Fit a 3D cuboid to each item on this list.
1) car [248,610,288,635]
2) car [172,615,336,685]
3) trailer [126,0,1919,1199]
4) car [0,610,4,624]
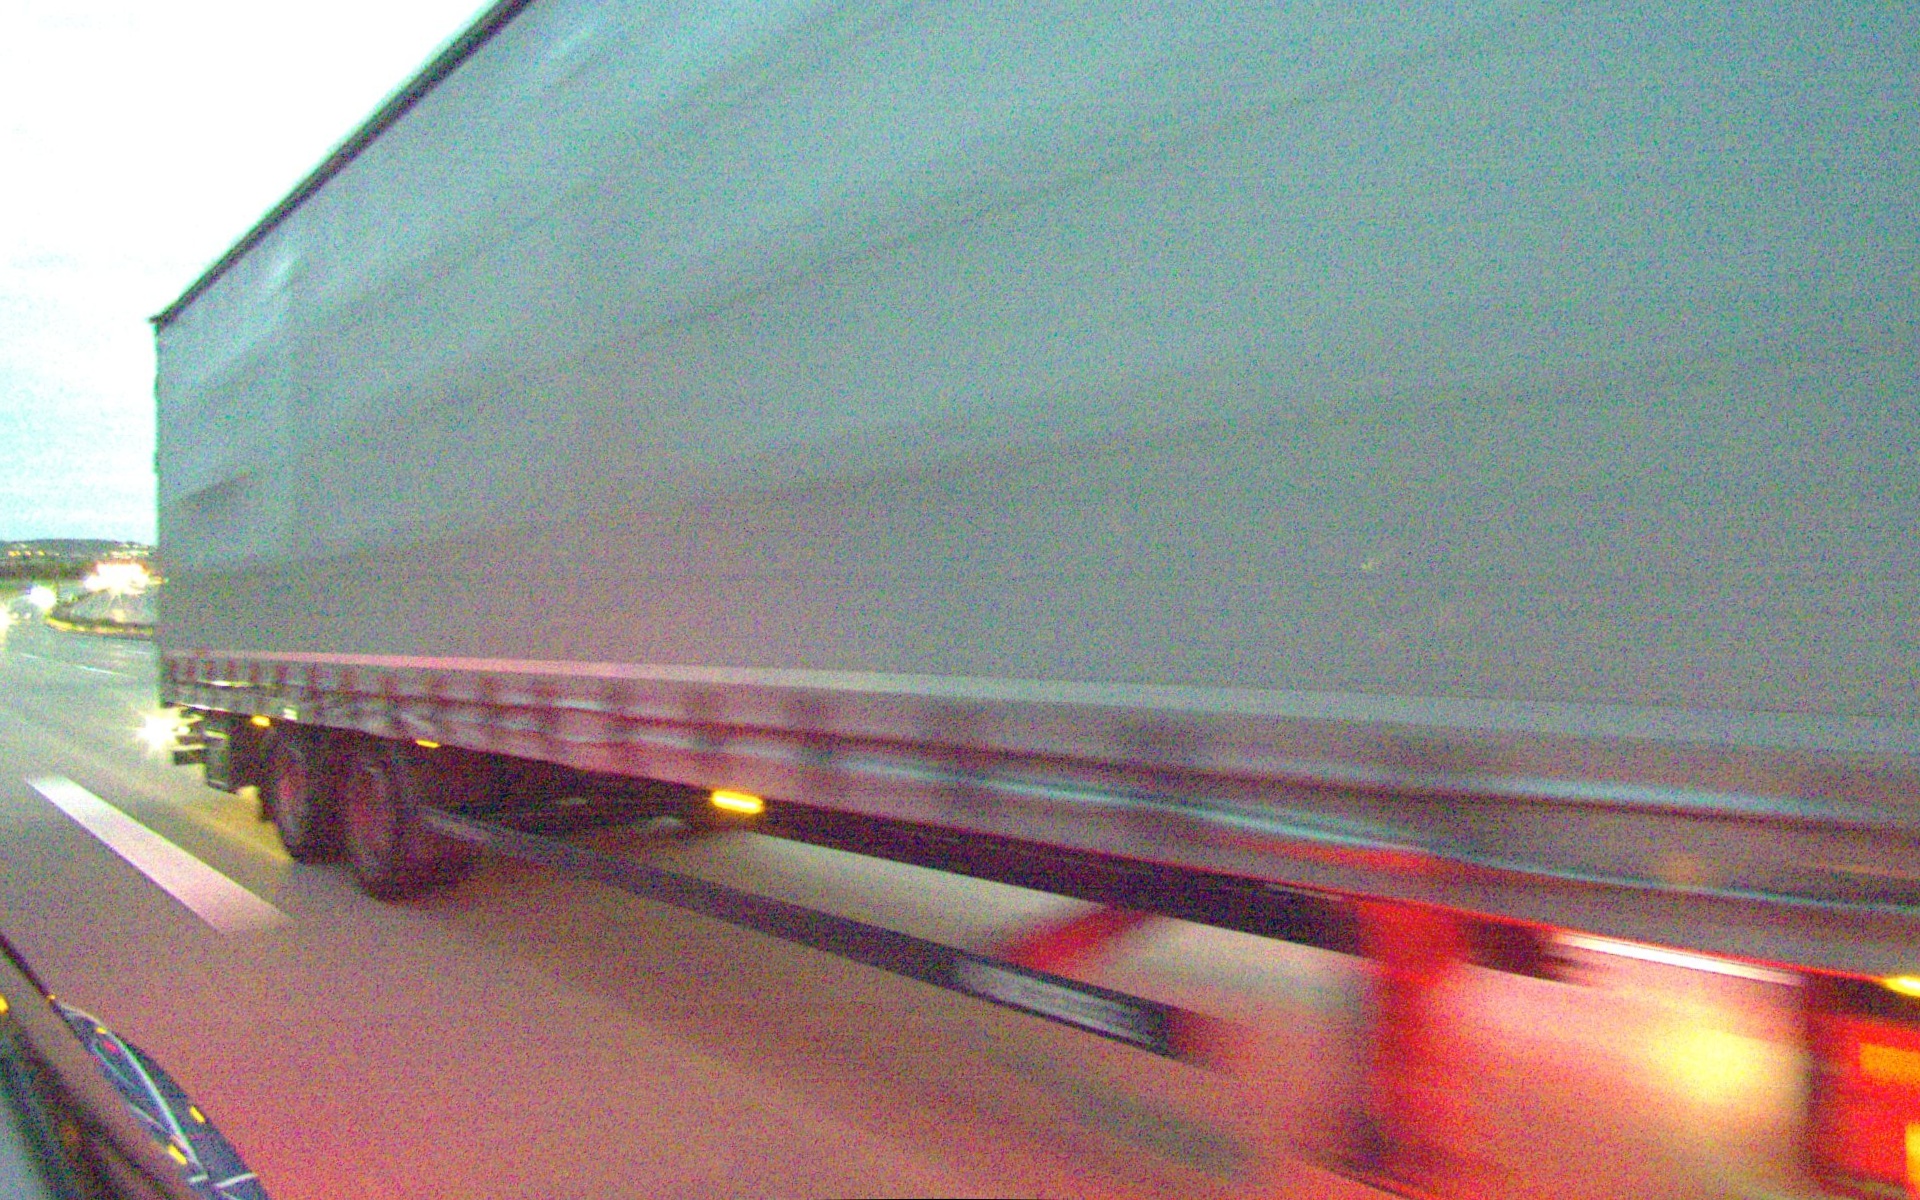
[{"bbox_3d":[-57.966,1.881,84.749,4.001,2.029,1.971,-1,-2,44],"label":"car"},{"bbox_3d":[-17.135,1.157,24.490,4.541,1.509,1.975,-1,-1,37],"label":"car"},{"bbox_3d":[-0.356,-0.479,4.420,14.812,3.945,2.745,-1,-1,41],"label":"trailer"},{"bbox_3d":[-147.829,2.620,154.663,3.996,2.029,1.974,-1,-1,40],"label":"car"}]
